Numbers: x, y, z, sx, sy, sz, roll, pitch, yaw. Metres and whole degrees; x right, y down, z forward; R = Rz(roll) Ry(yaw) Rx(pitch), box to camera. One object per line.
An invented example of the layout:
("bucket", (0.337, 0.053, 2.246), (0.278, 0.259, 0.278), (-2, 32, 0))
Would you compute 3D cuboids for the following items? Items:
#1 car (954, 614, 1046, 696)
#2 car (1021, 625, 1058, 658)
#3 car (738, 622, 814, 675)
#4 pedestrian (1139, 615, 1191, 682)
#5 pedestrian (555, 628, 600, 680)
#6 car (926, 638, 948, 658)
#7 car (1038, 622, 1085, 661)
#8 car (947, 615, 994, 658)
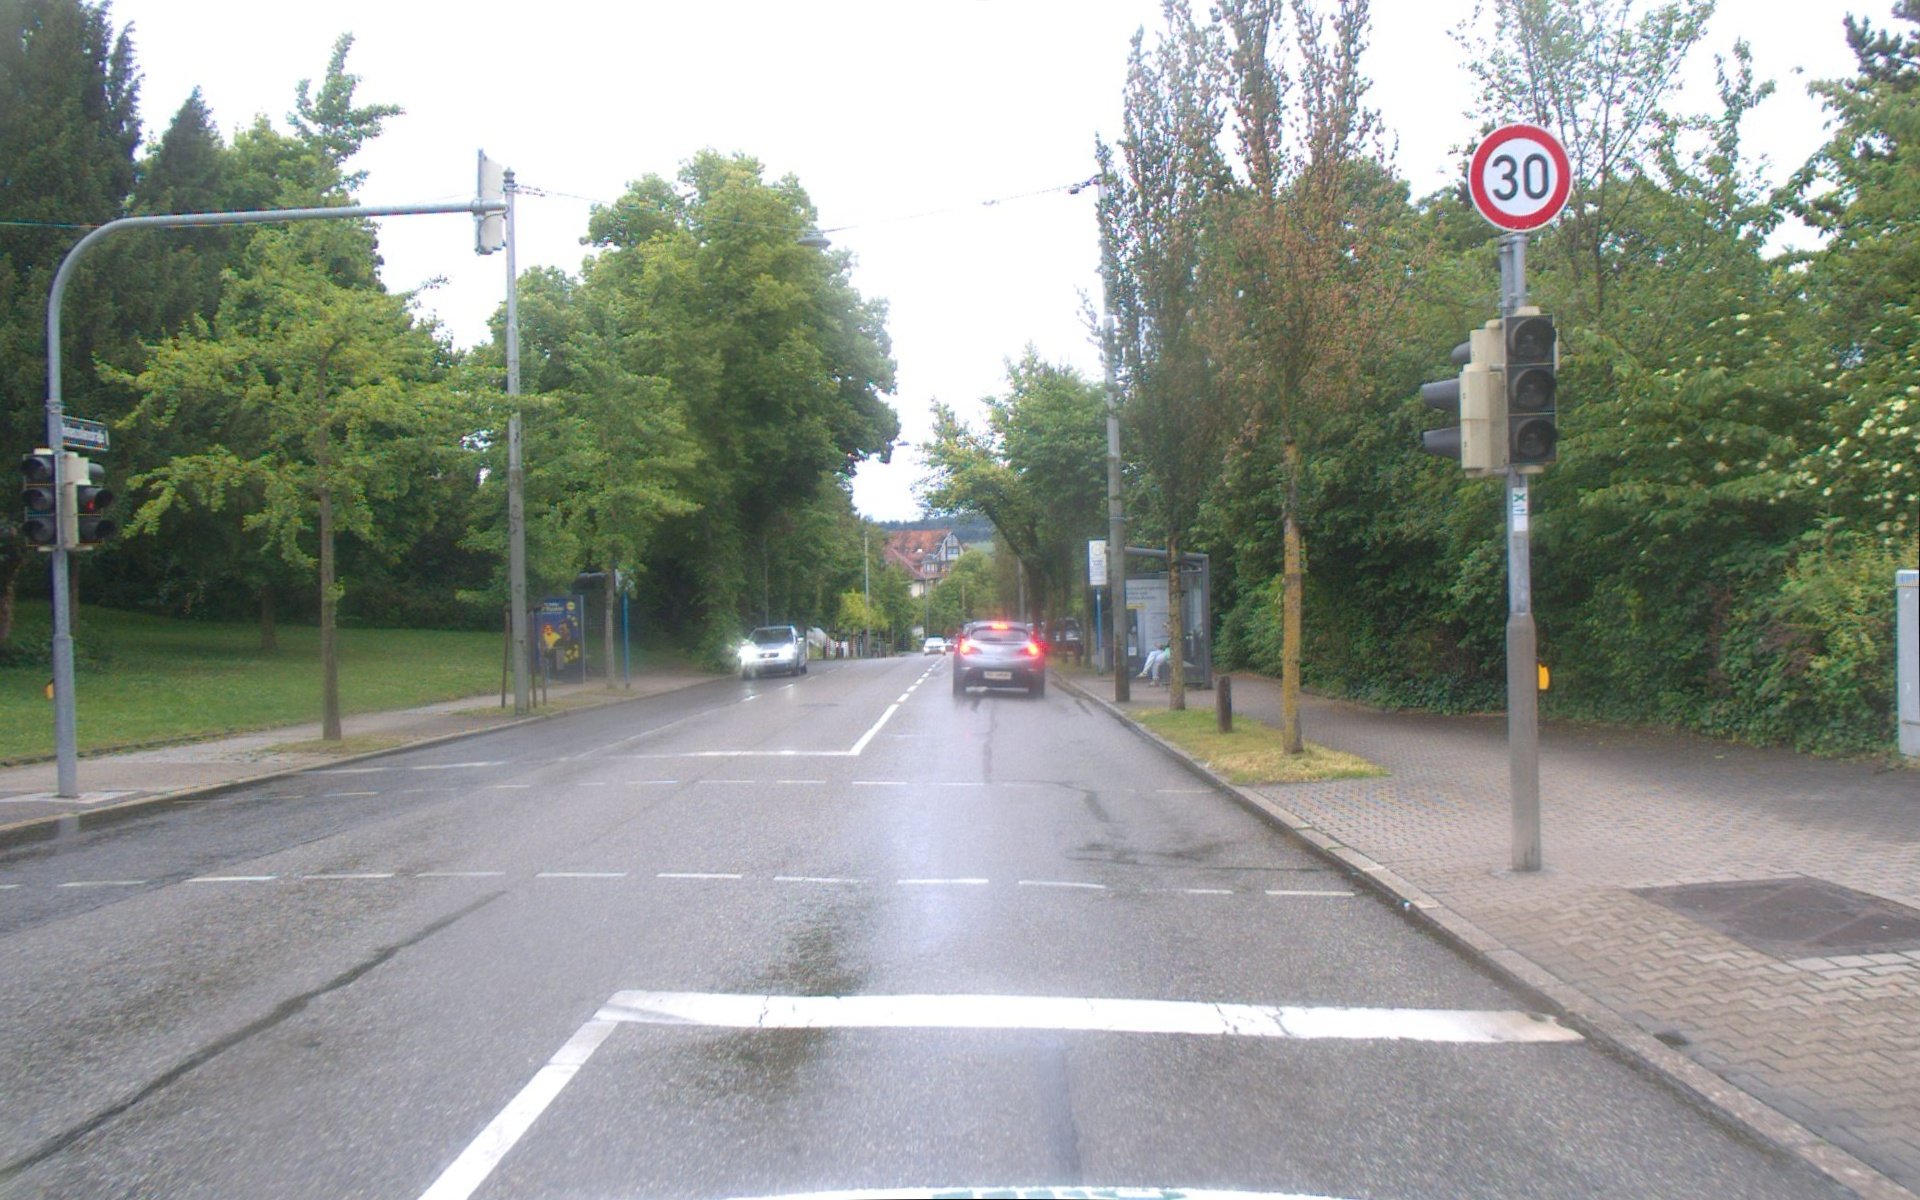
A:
("car", (0.762, 1.057, 33.382), (1.718, 1.489, 4.000), (1, 0, 0))
("car", (3.993, 2.070, 83.314), (1.686, 1.489, 4.000), (-2, -1, 1))
("car", (-5.321, 1.379, 48.255), (1.686, 1.423, 4.000), (1, -1, 1))
("pedestrian", (4.380, 1.030, 35.337), (1.051, 1.379, 0.919), (-2, -1, 7))
("pedestrian", (-10.697, 1.503, 46.283), (0.917, 1.428, 0.919), (2, -1, 7))
("car", (-1.906, 3.957, 136.885), (1.686, 1.489, 4.000), (2, -1, 1))
("car", (4.162, 1.678, 68.158), (1.686, 1.489, 4.000), (-2, -1, 1))
("car", (0.410, 1.422, 62.603), (1.718, 1.490, 3.999), (1, -3, 1))
